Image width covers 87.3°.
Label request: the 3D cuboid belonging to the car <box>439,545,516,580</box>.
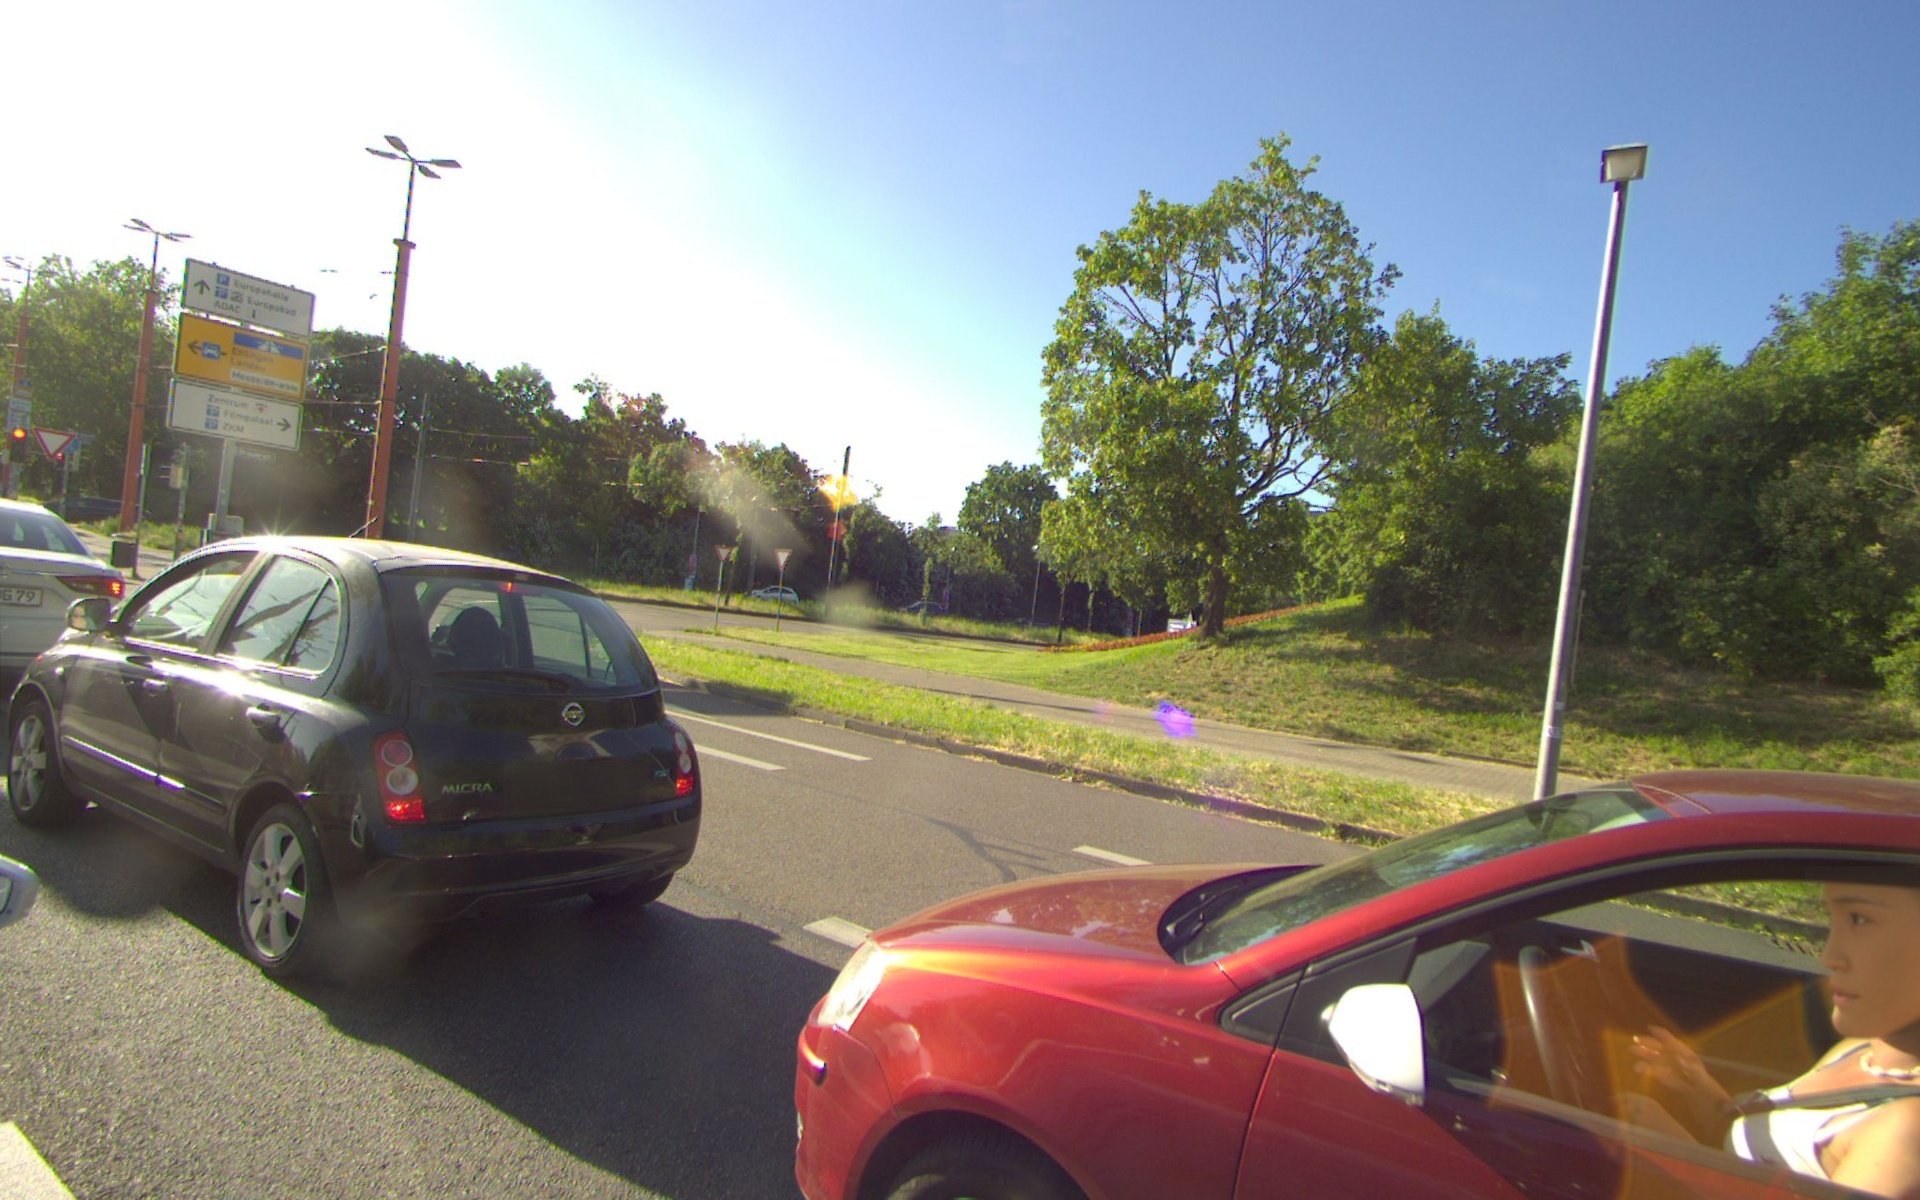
[{"bbox_3d":[-28.857,-2.237,60.231,3.888,1.474,1.643,8,-1,-32],"label":"car"}]

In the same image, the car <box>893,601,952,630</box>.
[{"bbox_3d":[-2.656,1.085,71.963,3.764,1.528,1.644,8,-1,-31],"label":"car"}]

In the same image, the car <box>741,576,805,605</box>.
[{"bbox_3d":[-12.952,-0.638,69.743,3.888,1.474,1.643,8,-1,-32],"label":"car"}]

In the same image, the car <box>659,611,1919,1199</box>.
[{"bbox_3d":[1.347,1.001,1.869,3.629,1.477,1.579,6,-2,32],"label":"car"}]

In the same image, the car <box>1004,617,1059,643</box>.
[{"bbox_3d":[5.713,2.408,80.261,4.105,1.528,1.644,8,-1,-31],"label":"car"}]

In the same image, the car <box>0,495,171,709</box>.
[{"bbox_3d":[-8.369,-0.176,8.079,4.256,1.457,1.802,6,-2,33],"label":"car"}]

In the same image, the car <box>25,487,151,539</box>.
[{"bbox_3d":[-40.915,-4.069,47.326,4.180,1.701,1.641,8,-1,-35],"label":"car"}]

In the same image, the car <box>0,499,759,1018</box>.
[{"bbox_3d":[-2.796,0.466,4.624,3.385,1.457,1.579,6,-2,32],"label":"car"}]
